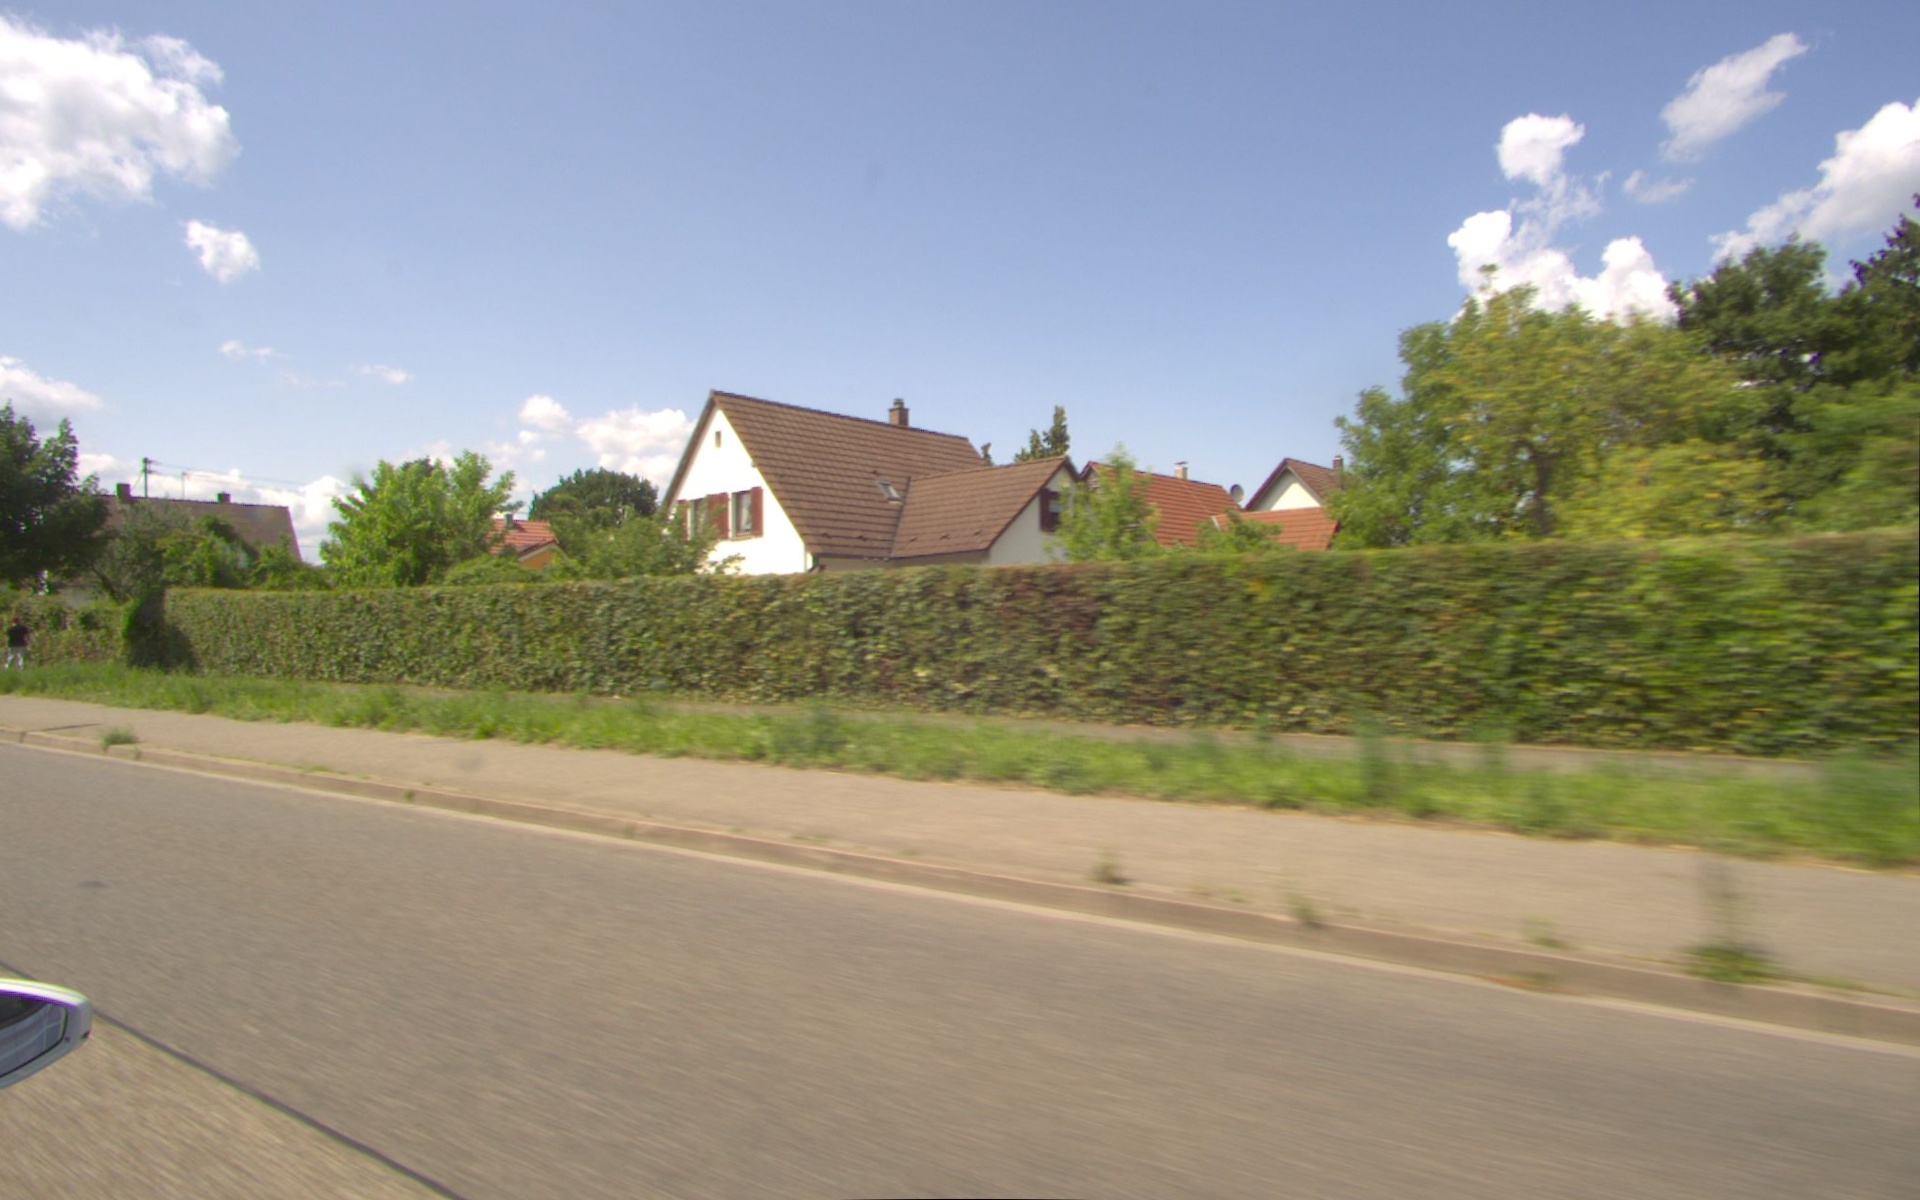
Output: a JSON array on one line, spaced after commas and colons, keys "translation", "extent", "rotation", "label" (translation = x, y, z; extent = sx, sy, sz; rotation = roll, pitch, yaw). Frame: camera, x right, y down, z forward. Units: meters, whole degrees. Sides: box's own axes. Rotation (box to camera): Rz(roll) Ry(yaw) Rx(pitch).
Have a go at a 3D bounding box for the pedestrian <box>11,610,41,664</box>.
[{"translation": [-29.404, 1.162, 31.524], "extent": [0.625, 1.698, 0.559], "rotation": [0, -1, 31], "label": "pedestrian"}]
